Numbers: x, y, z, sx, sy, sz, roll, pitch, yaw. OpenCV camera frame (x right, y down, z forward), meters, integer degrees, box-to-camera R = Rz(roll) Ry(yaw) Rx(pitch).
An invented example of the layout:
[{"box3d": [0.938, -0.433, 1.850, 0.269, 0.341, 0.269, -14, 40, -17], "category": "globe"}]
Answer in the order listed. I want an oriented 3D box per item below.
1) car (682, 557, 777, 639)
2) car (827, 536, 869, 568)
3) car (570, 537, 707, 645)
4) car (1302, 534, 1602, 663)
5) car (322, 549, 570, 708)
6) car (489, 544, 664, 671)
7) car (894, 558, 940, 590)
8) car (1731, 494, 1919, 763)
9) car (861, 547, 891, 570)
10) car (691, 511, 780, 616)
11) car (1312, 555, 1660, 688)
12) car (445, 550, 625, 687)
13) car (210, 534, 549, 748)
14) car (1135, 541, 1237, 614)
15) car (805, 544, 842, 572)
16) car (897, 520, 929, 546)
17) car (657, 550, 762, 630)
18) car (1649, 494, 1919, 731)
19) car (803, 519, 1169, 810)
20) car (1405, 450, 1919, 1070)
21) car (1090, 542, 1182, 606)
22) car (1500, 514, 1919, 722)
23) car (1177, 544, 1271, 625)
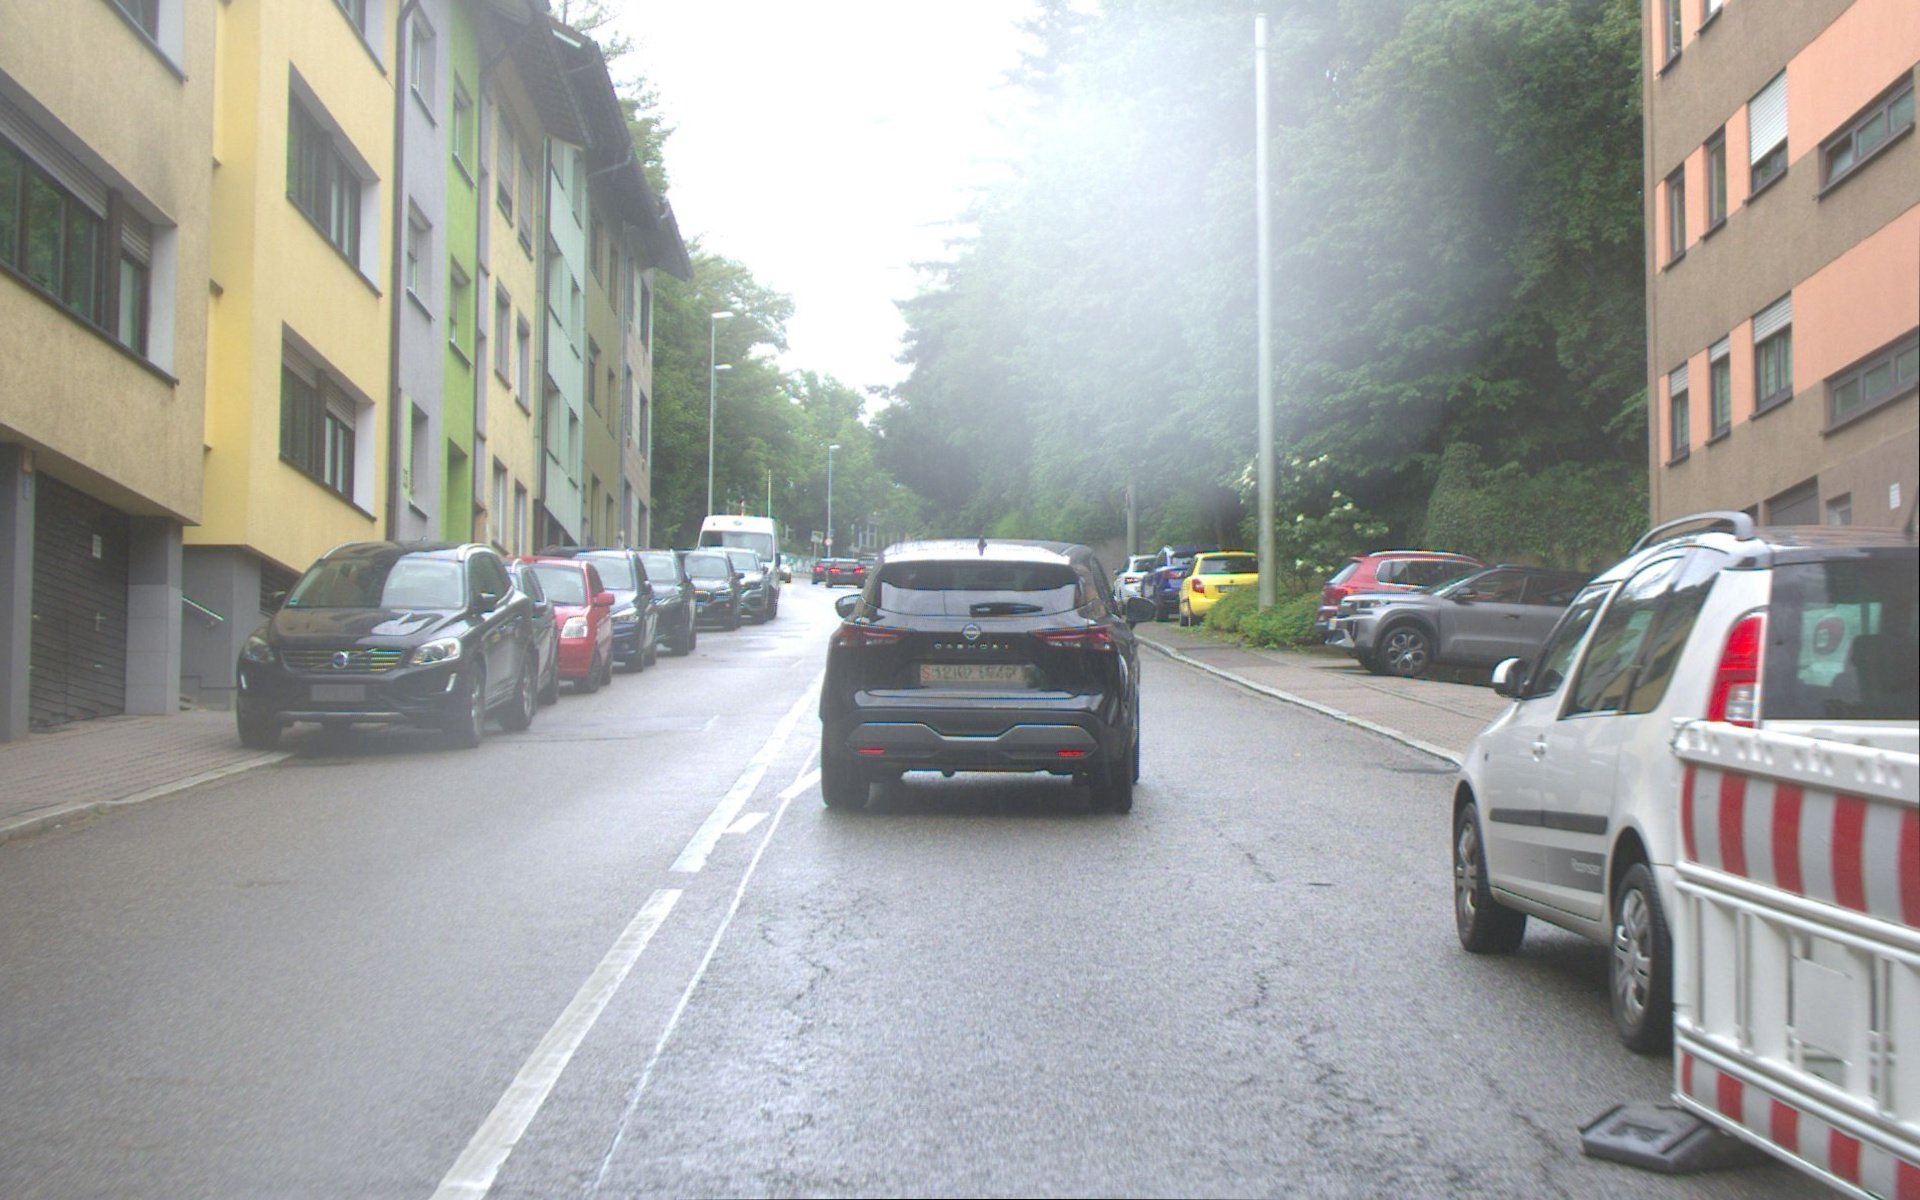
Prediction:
[{"box3d": [-5.127, -0.072, 76.914, 1.990, 1.749, 4.480, 0, 1, -2], "category": "car"}, {"box3d": [-5.727, -2.462, 175.181, 2.074, 1.554, 4.001, 1, 1, -2], "category": "car"}, {"box3d": [-4.930, -0.168, 53.132, 1.853, 1.579, 4.305, 0, 1, -2], "category": "car"}, {"box3d": [7.562, -0.034, 53.074, 4.197, 1.728, 1.760, 3, 1, -5], "category": "car"}, {"box3d": [-5.112, 0.238, 34.701, 1.993, 1.467, 4.349, 0, 1, -2], "category": "car"}, {"box3d": [-5.068, 0.060, 45.994, 1.993, 1.579, 4.472, 0, 1, -2], "category": "car"}, {"box3d": [-2.235, -1.353, 176.891, 2.074, 1.554, 4.001, 1, 1, -4], "category": "car"}, {"box3d": [7.539, 0.045, 23.842, 3.826, 1.696, 1.729, -5, 1, -2], "category": "car"}, {"box3d": [-6.087, -3.027, 250.263, 1.993, 1.554, 4.000, 0, -1, 1], "category": "car"}, {"box3d": [-5.424, -0.911, 83.683, 1.990, 2.466, 5.785, 0, 1, -2], "category": "car"}, {"box3d": [6.905, 0.273, 45.383, 4.197, 1.491, 1.760, 3, 1, -3], "category": "car"}, {"box3d": [-4.792, 0.178, 39.137, 1.728, 1.467, 3.491, 0, 1, -2], "category": "car"}, {"box3d": [-4.760, 0.274, 28.819, 1.993, 1.644, 4.441, 0, 1, 1], "category": "car"}, {"box3d": [4.940, -0.508, 75.644, 1.811, 1.525, 4.417, -1, 1, -1], "category": "car"}, {"box3d": [-7.873, -2.419, 198.135, 2.074, 1.554, 4.000, 1, 1, -2], "category": "car"}, {"box3d": [-3.137, -4.429, 228.588, 1.993, 1.554, 4.000, 0, -1, 1], "category": "car"}, {"box3d": [-5.134, -0.233, 70.890, 1.990, 1.579, 4.305, 0, 1, -2], "category": "car"}, {"box3d": [7.656, -0.061, 26.017, 4.341, 1.524, 1.877, -6, 1, -2], "category": "car"}, {"box3d": [0.110, 0.315, 21.197, 1.993, 1.554, 4.000, 2, 1, -1], "category": "car"}, {"box3d": [2.721, 0.424, 11.885, 1.640, 1.756, 4.001, 2, 1, -2], "category": "car"}, {"box3d": [4.379, -0.658, 86.009, 1.810, 1.525, 4.418, -1, 1, -3], "category": "car"}, {"box3d": [7.085, 0.133, 31.072, 3.961, 1.524, 1.693, -5, 1, -4], "category": "car"}, {"box3d": [5.247, -0.327, 68.683, 1.633, 1.525, 4.000, 2, 1, 1], "category": "car"}]
